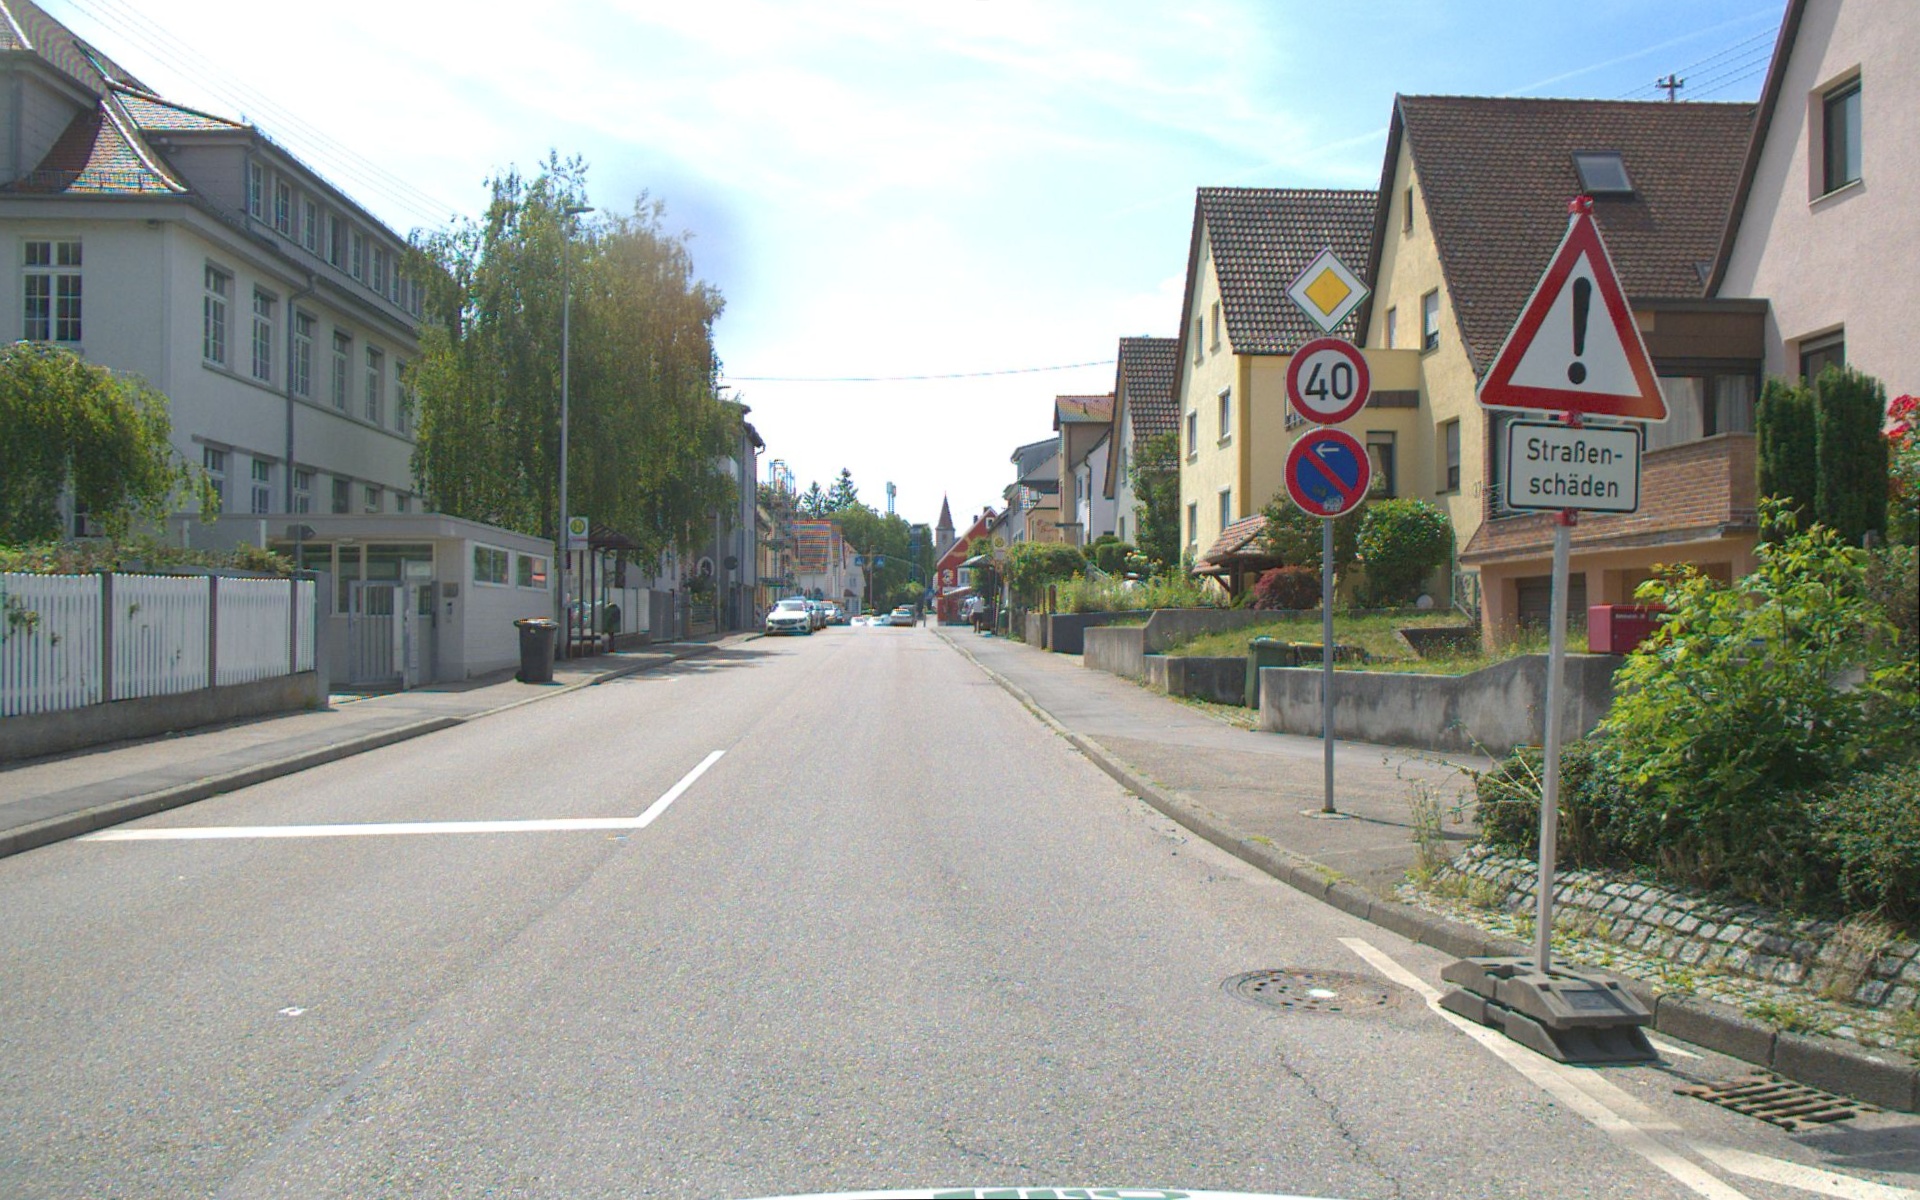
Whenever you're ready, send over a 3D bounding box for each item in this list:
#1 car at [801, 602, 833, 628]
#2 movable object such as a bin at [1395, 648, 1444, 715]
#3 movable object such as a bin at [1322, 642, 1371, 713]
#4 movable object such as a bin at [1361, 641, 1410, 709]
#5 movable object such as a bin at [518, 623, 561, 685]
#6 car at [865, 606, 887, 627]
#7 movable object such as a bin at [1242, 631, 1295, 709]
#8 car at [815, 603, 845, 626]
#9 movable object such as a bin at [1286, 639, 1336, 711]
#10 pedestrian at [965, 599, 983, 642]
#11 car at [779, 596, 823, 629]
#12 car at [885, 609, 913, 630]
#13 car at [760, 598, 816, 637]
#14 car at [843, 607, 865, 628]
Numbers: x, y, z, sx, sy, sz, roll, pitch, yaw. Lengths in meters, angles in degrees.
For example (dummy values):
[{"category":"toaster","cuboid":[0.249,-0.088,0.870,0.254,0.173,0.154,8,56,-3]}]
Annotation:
[{"category":"car","cuboid":[-9.196,0.957,106.816,1.954,1.588,4.310,-1,0,-4]},{"category":"movable object such as a bin","cuboid":[7.011,1.240,25.254,0.517,0.968,0.563,3,0,-2]},{"category":"movable object such as a bin","cuboid":[5.862,1.169,25.100,0.518,1.006,0.563,5,0,-2]},{"category":"movable object such as a bin","cuboid":[6.468,1.138,25.159,0.518,0.968,0.563,5,0,-2]},{"category":"movable object such as a bin","cuboid":[-7.480,0.953,29.424,0.595,1.064,0.725,0,1,-3]},{"category":"car","cuboid":[-8.198,1.604,162.020,1.953,2.049,4.000,-1,0,0]},{"category":"movable object such as a bin","cuboid":[4.666,1.054,25.031,0.571,1.097,0.733,4,0,-2]},{"category":"car","cuboid":[-9.415,1.047,120.146,1.953,1.588,4.312,-1,0,-2]},{"category":"movable object such as a bin","cuboid":[5.318,1.134,25.082,0.518,1.006,0.563,6,0,-2]},{"category":"pedestrian","cuboid":[0.587,0.843,68.737,0.633,1.760,0.608,-3,0,-2]},{"category":"car","cuboid":[-7.869,0.591,82.201,1.954,1.588,4.311,-1,0,-3]},{"category":"car","cuboid":[-4.849,1.522,131.204,1.955,1.588,4.309,-1,0,-5]},{"category":"car","cuboid":[-7.339,0.722,70.962,2.068,1.588,4.312,-1,0,-2]},{"category":"car","cuboid":[-10.694,1.720,167.761,1.953,2.049,4.000,-1,0,0]}]
